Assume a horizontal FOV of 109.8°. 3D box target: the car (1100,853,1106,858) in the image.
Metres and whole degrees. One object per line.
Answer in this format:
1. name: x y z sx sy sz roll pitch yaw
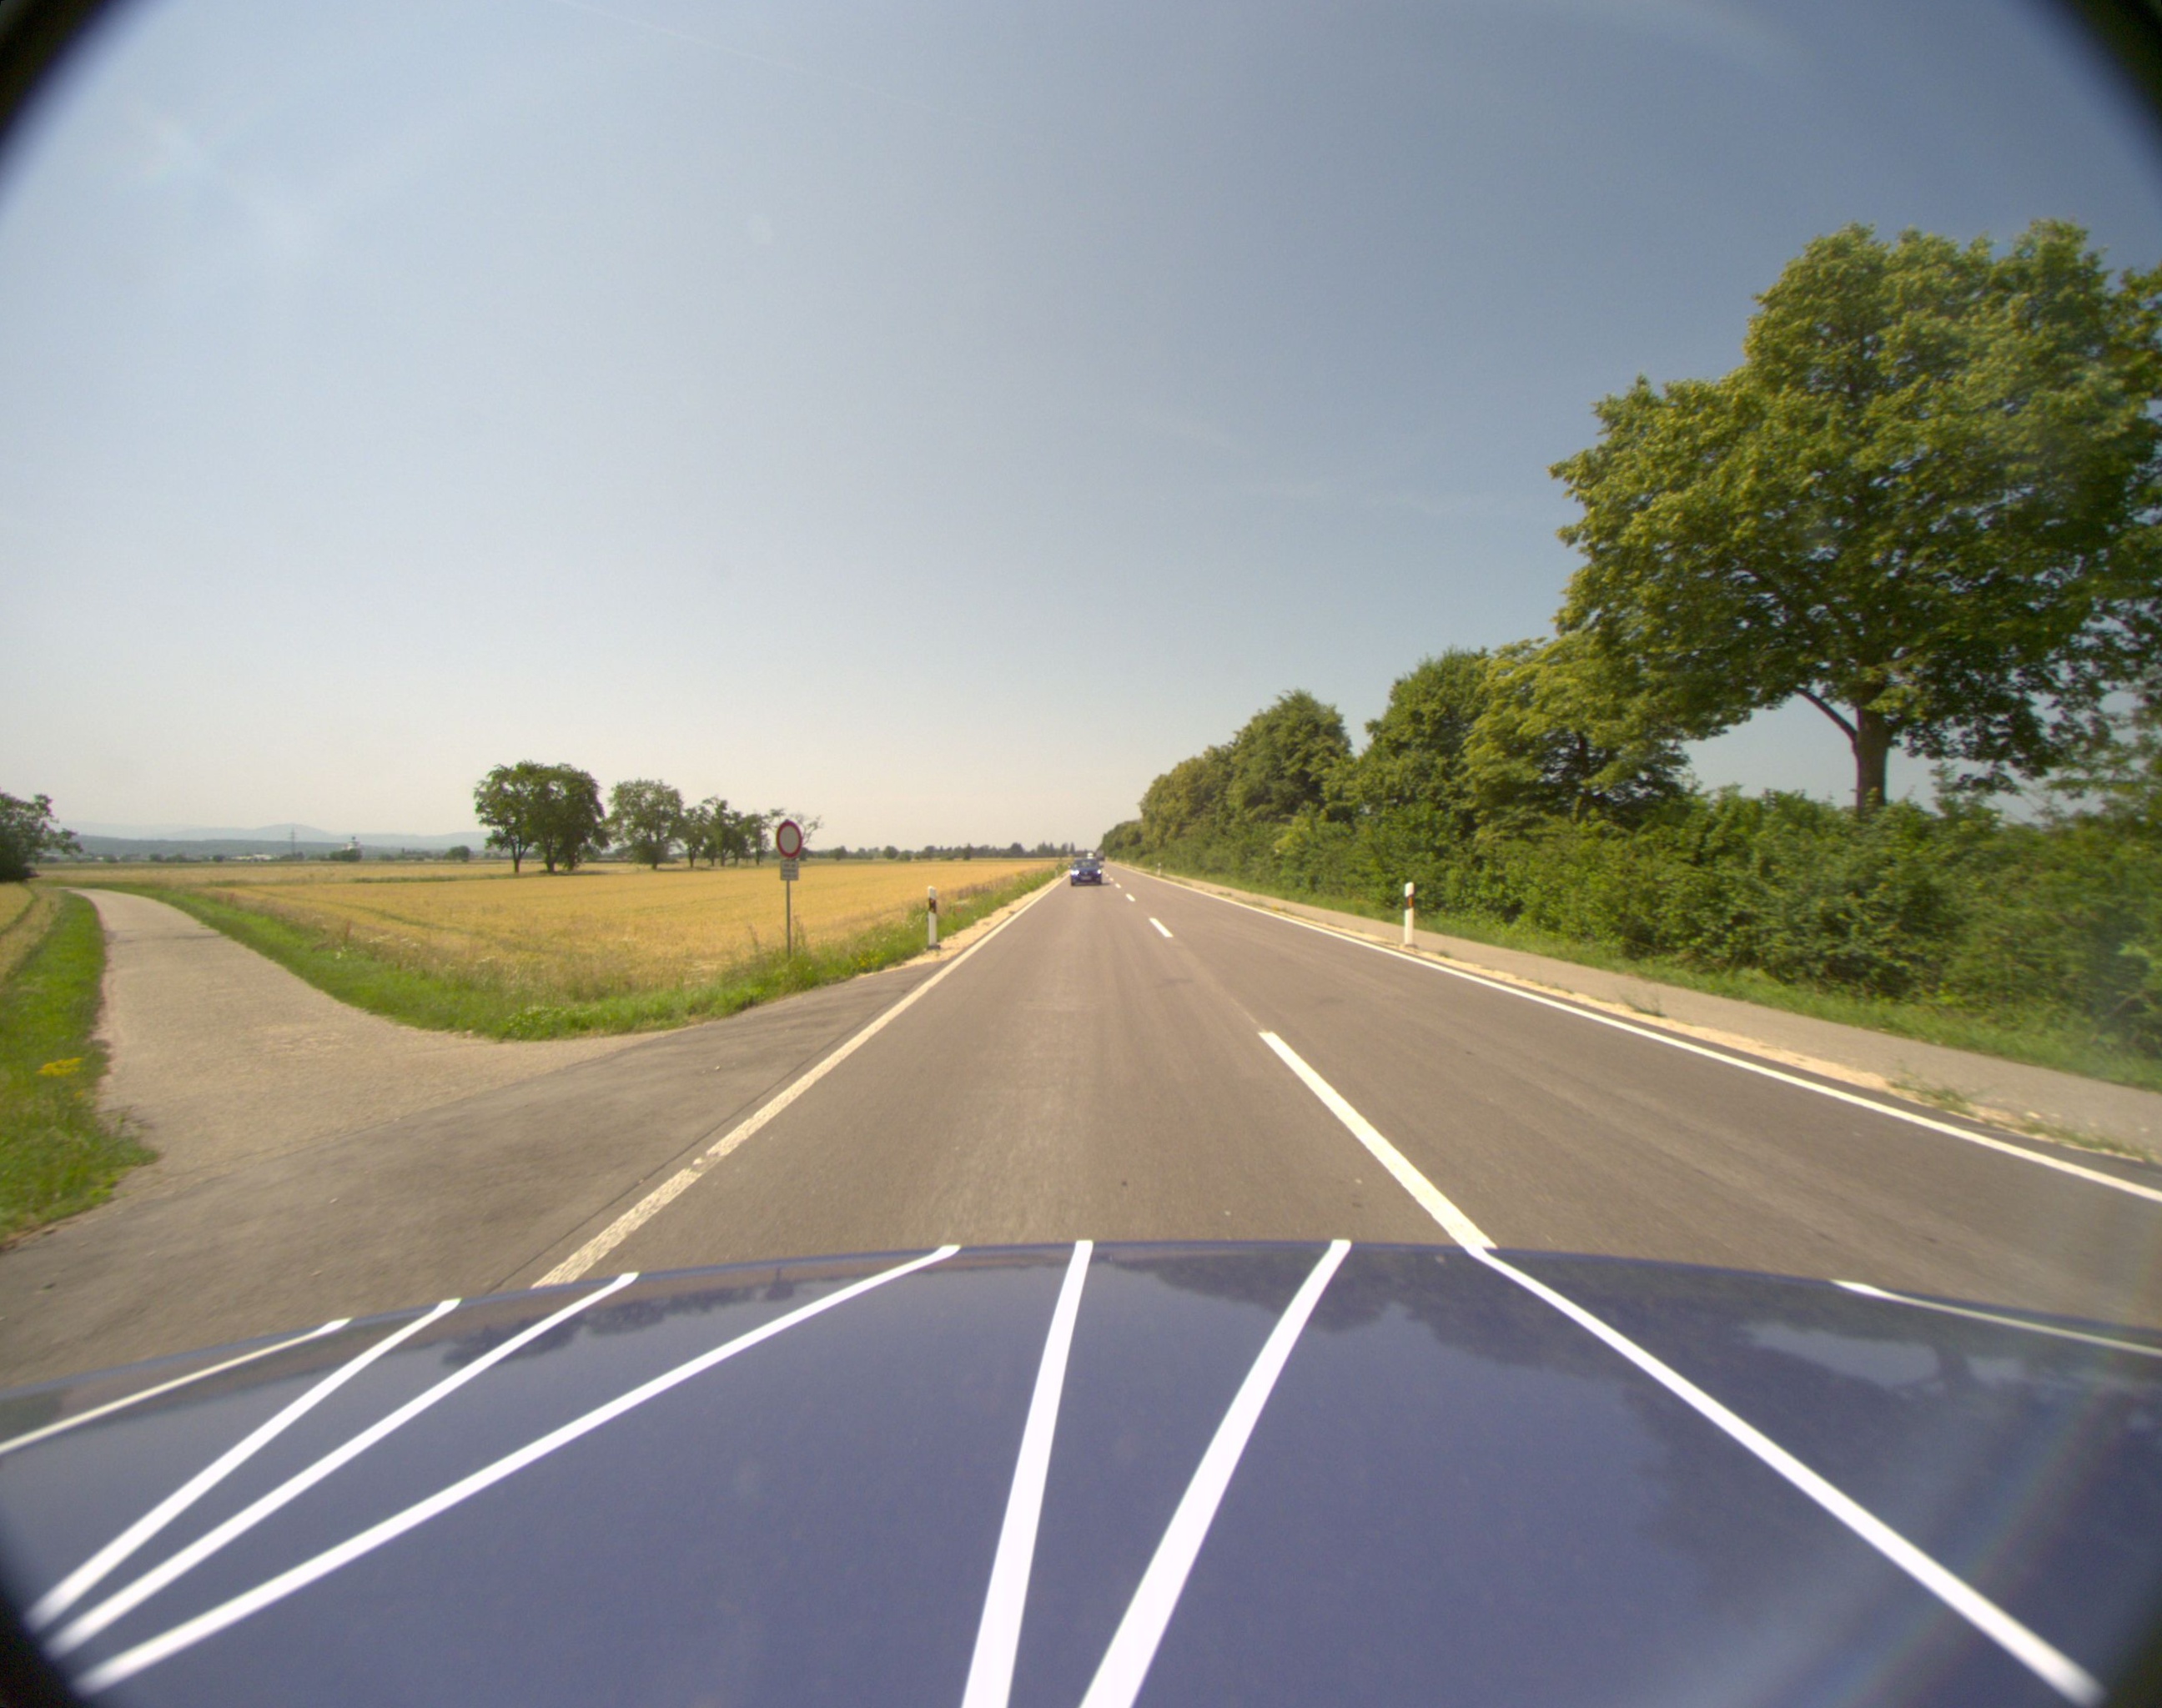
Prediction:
1. car: 6.592 0.346 225.953 1.796 1.565 4.479 0 0 0

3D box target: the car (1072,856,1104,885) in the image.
1. car: 0.381 0.895 43.132 1.662 1.508 4.000 -2 0 0
